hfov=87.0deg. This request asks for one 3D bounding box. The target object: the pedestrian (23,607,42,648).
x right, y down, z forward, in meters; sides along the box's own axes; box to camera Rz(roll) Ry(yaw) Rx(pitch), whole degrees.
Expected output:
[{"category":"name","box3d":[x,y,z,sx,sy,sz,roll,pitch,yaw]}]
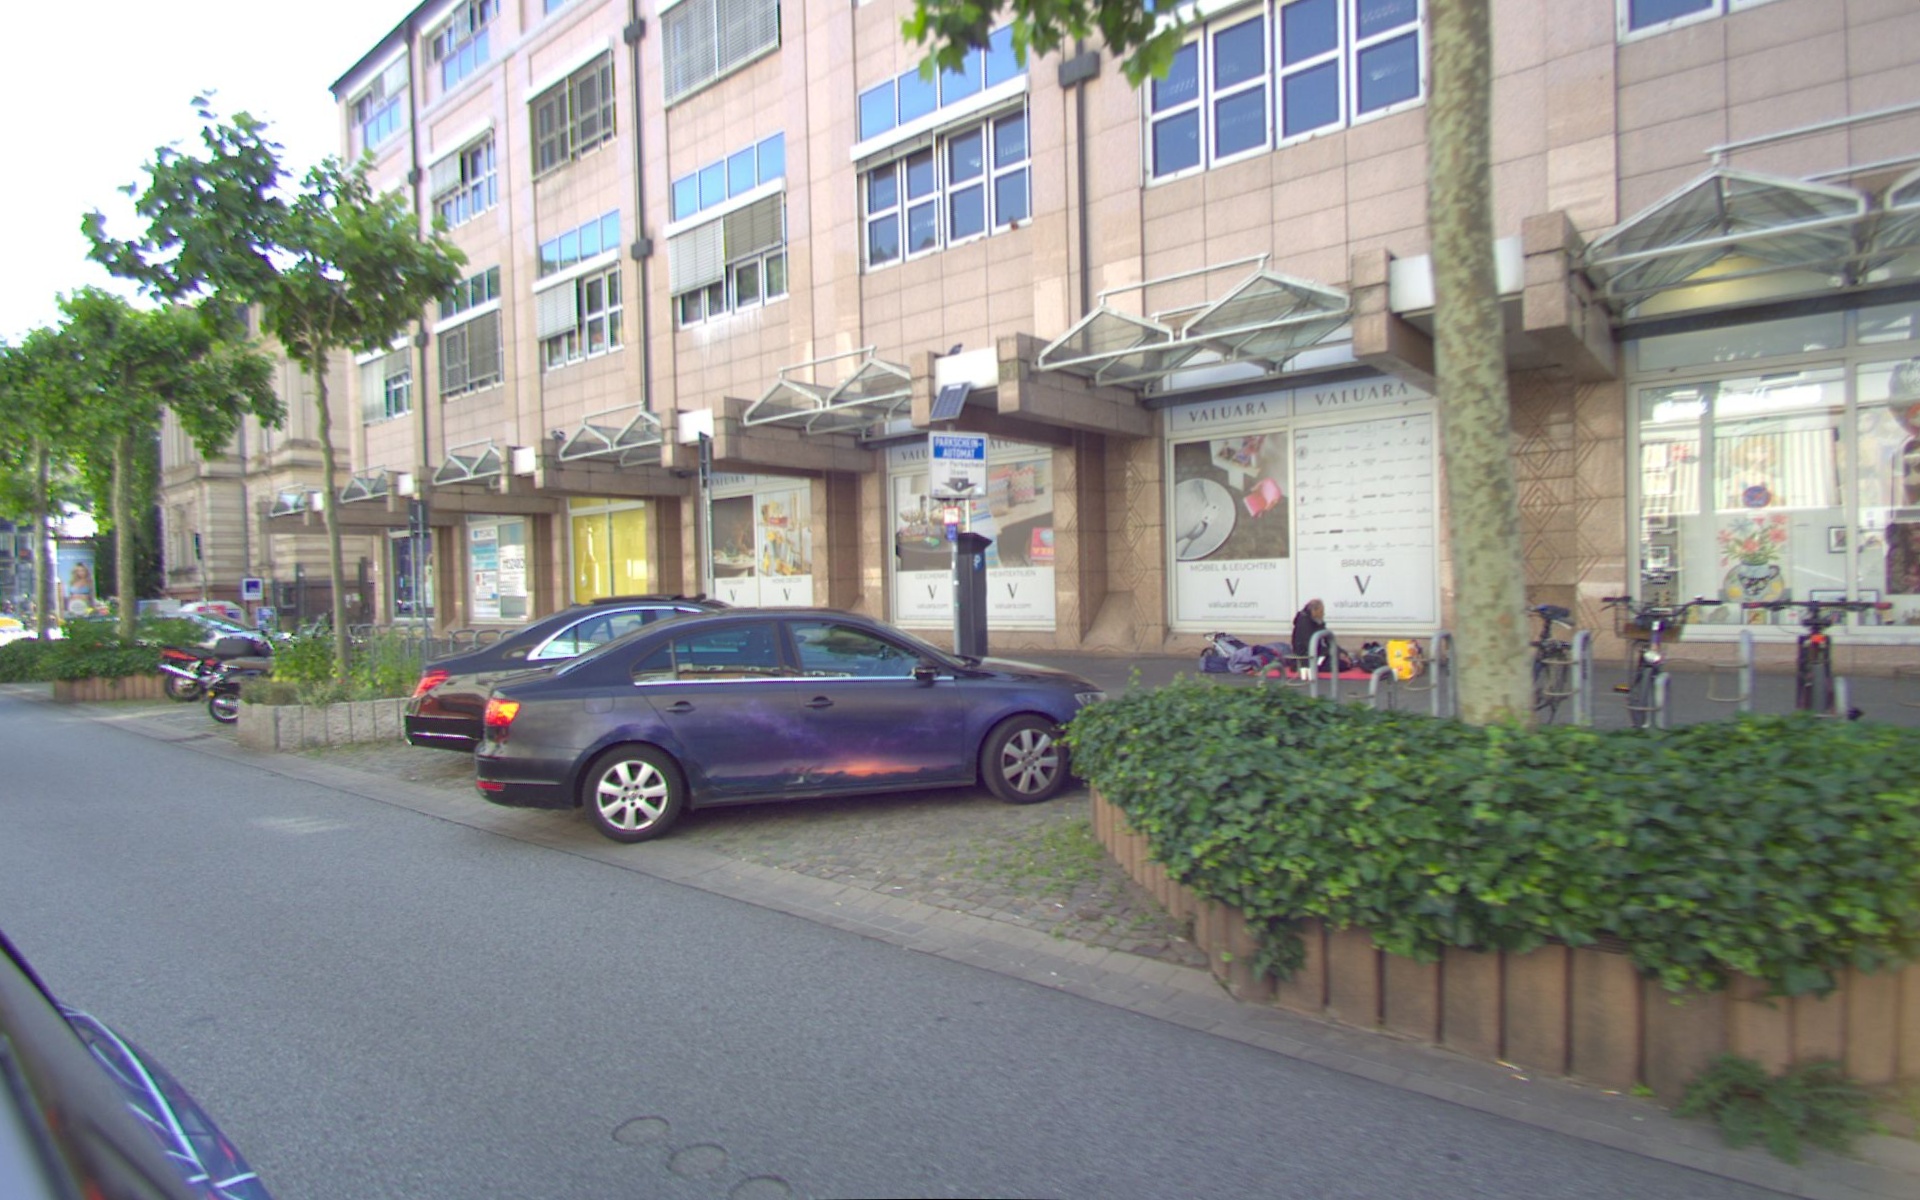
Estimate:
[{"category":"pedestrian","box3d":[-39.805,1.171,43.431,0.542,1.677,0.938,-1,2,-42]}]

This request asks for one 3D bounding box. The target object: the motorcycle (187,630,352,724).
[{"category":"motorcycle","box3d":[-9.955,1.080,14.687,1.884,1.178,0.730,-3,1,-30]}]

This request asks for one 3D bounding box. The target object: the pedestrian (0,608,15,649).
[{"category":"pedestrian","box3d":[-40.799,1.223,43.114,0.691,1.707,0.687,1,2,42]}]

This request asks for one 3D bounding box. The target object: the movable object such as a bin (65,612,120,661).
[{"category":"movable object such as a bin","box3d":[-28.444,1.190,33.189,1.195,1.461,1.365,-5,2,-45]}]

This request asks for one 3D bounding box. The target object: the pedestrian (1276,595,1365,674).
[{"category":"pedestrian","box3d":[4.119,0.388,11.551,0.773,0.814,0.560,-1,5,40]}]

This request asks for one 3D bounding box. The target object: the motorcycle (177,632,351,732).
[{"category":"motorcycle","box3d":[-9.577,1.103,14.035,1.884,1.178,0.762,-3,1,-30]}]

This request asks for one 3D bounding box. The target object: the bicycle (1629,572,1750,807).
[{"category":"bicycle","box3d":[4.479,0.453,6.294,0.462,1.138,2.050,-1,3,32]}]

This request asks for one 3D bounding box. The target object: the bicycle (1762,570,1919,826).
[{"category":"bicycle","box3d":[5.031,0.448,5.780,0.462,1.138,2.050,-1,3,32]}]

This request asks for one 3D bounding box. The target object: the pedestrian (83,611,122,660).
[{"category":"pedestrian","box3d":[-31.439,1.290,37.108,0.746,1.738,0.882,-1,1,33]}]

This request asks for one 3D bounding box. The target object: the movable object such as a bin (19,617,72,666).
[{"category":"movable object such as a bin","box3d":[-29.340,1.314,32.463,1.111,1.461,1.439,-5,2,-45]}]

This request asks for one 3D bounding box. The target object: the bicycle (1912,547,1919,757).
[{"category":"bicycle","box3d":[5.619,0.386,5.414,0.366,1.298,2.050,-1,3,32]}]

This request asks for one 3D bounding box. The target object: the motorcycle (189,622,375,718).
[{"category":"motorcycle","box3d":[-10.674,1.054,16.085,2.313,1.277,1.298,-3,1,-30]}]

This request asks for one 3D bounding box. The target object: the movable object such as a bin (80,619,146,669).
[{"category":"movable object such as a bin","box3d":[-24.057,1.241,28.757,1.079,1.309,1.197,-3,2,40]}]

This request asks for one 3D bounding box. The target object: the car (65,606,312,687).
[{"category":"car","box3d":[-17.381,1.003,23.005,3.993,1.505,1.939,-3,1,-9]}]

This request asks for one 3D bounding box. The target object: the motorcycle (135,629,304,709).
[{"category":"motorcycle","box3d":[-12.682,1.157,17.432,2.142,1.178,0.923,-3,1,-22]}]

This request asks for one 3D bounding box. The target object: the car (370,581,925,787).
[{"category":"car","box3d":[-2.814,0.697,9.921,4.682,1.544,1.994,-3,1,-8]}]

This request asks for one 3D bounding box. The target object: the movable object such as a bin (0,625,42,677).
[{"category":"movable object such as a bin","box3d":[-25.346,1.366,26.909,0.853,1.309,1.264,-1,1,40]}]

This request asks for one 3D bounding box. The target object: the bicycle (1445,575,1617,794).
[{"category":"bicycle","box3d":[3.851,0.464,6.734,0.617,1.138,2.045,0,4,40]}]

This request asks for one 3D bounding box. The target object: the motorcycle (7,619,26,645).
[{"category":"motorcycle","box3d":[-40.134,1.336,43.071,0.448,1.005,2.164,-4,3,-41]}]

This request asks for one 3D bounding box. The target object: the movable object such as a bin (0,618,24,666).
[{"category":"movable object such as a bin","box3d":[-30.127,1.340,31.671,1.111,1.461,1.439,-5,2,-45]}]

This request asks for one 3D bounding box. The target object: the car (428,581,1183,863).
[{"category":"car","box3d":[-1.007,0.718,7.423,4.720,1.433,1.887,-3,1,-10]}]
